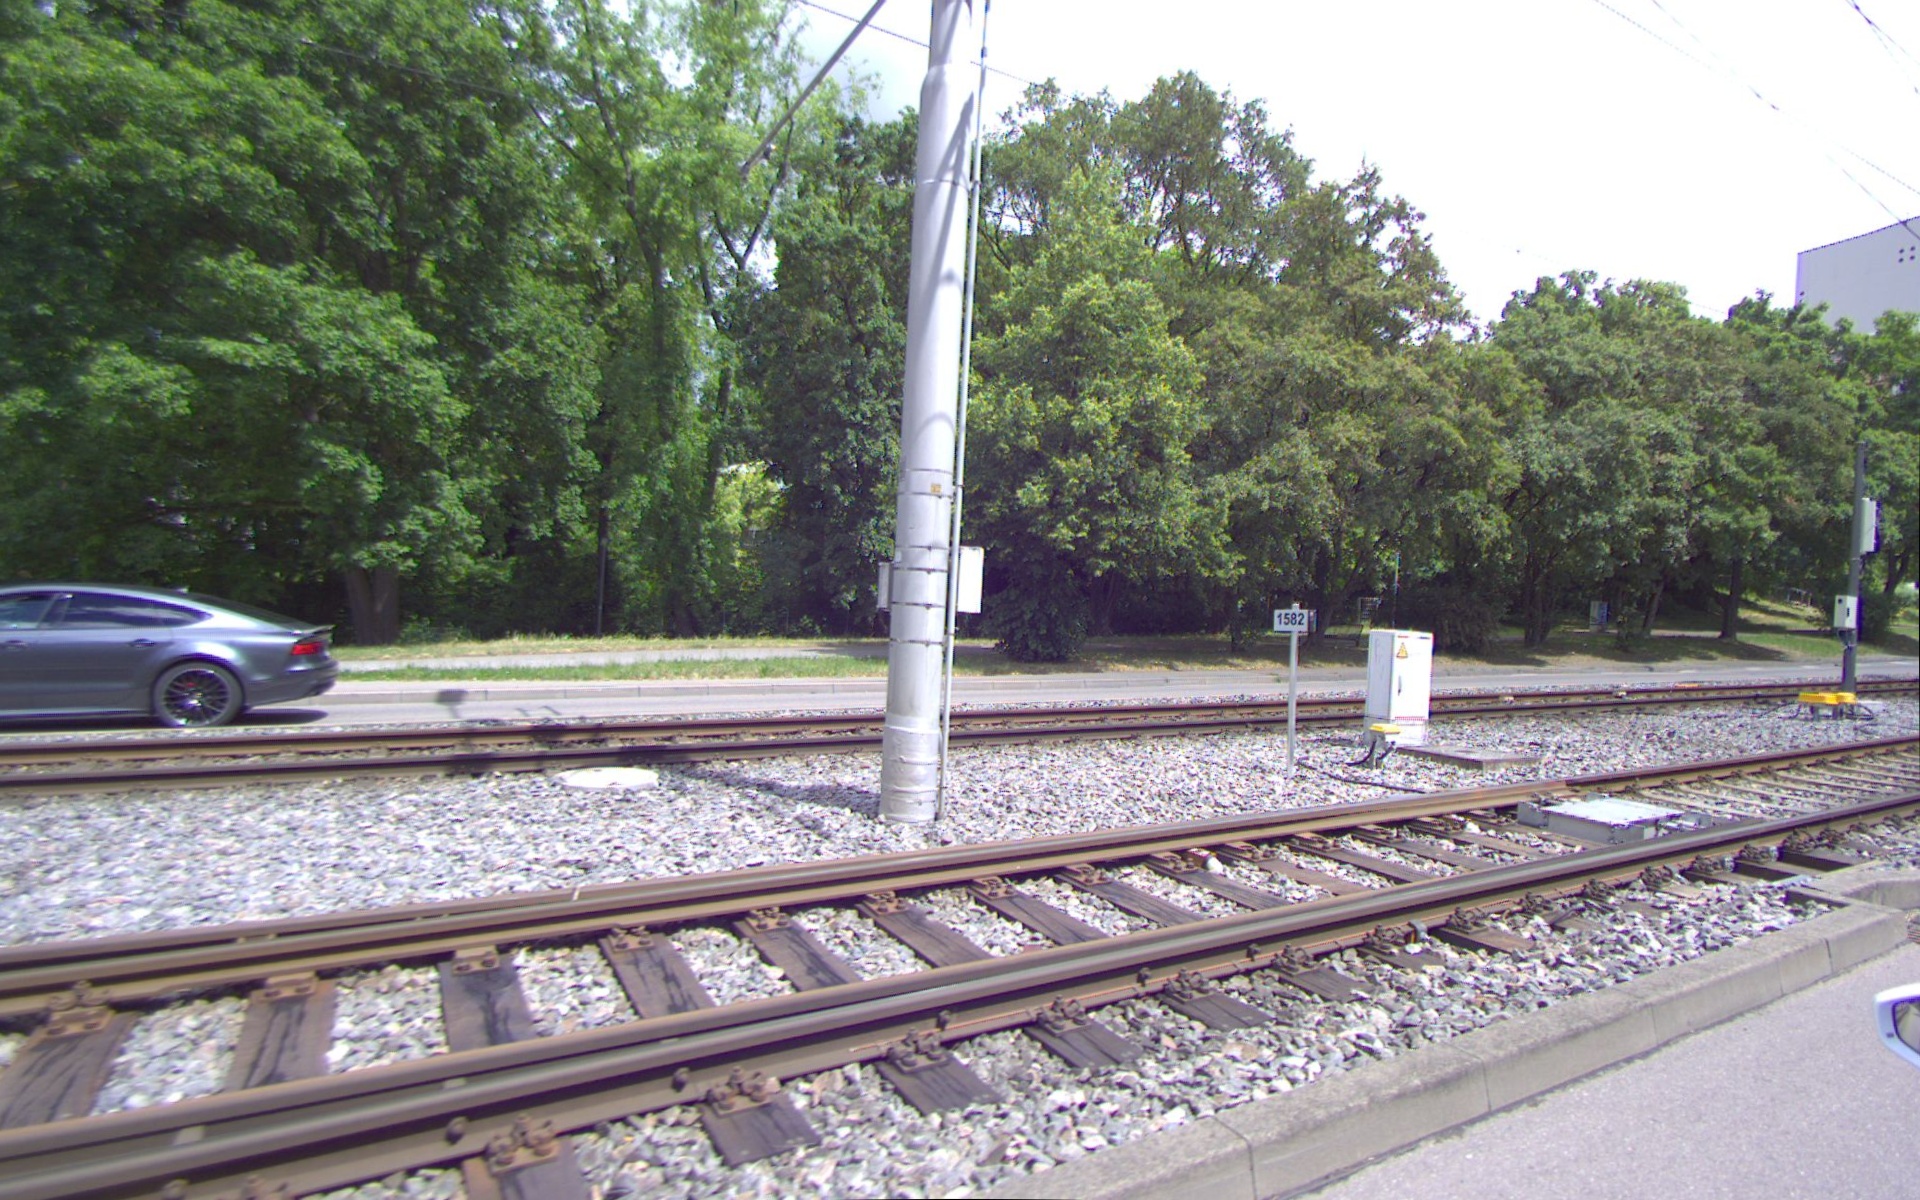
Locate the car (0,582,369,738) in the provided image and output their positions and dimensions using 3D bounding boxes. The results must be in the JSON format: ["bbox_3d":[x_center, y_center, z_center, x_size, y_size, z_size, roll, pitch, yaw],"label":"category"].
[{"bbox_3d":[-8.748,0.567,10.045,4.803,1.409,1.828,1,-2,-29],"label":"car"}]
